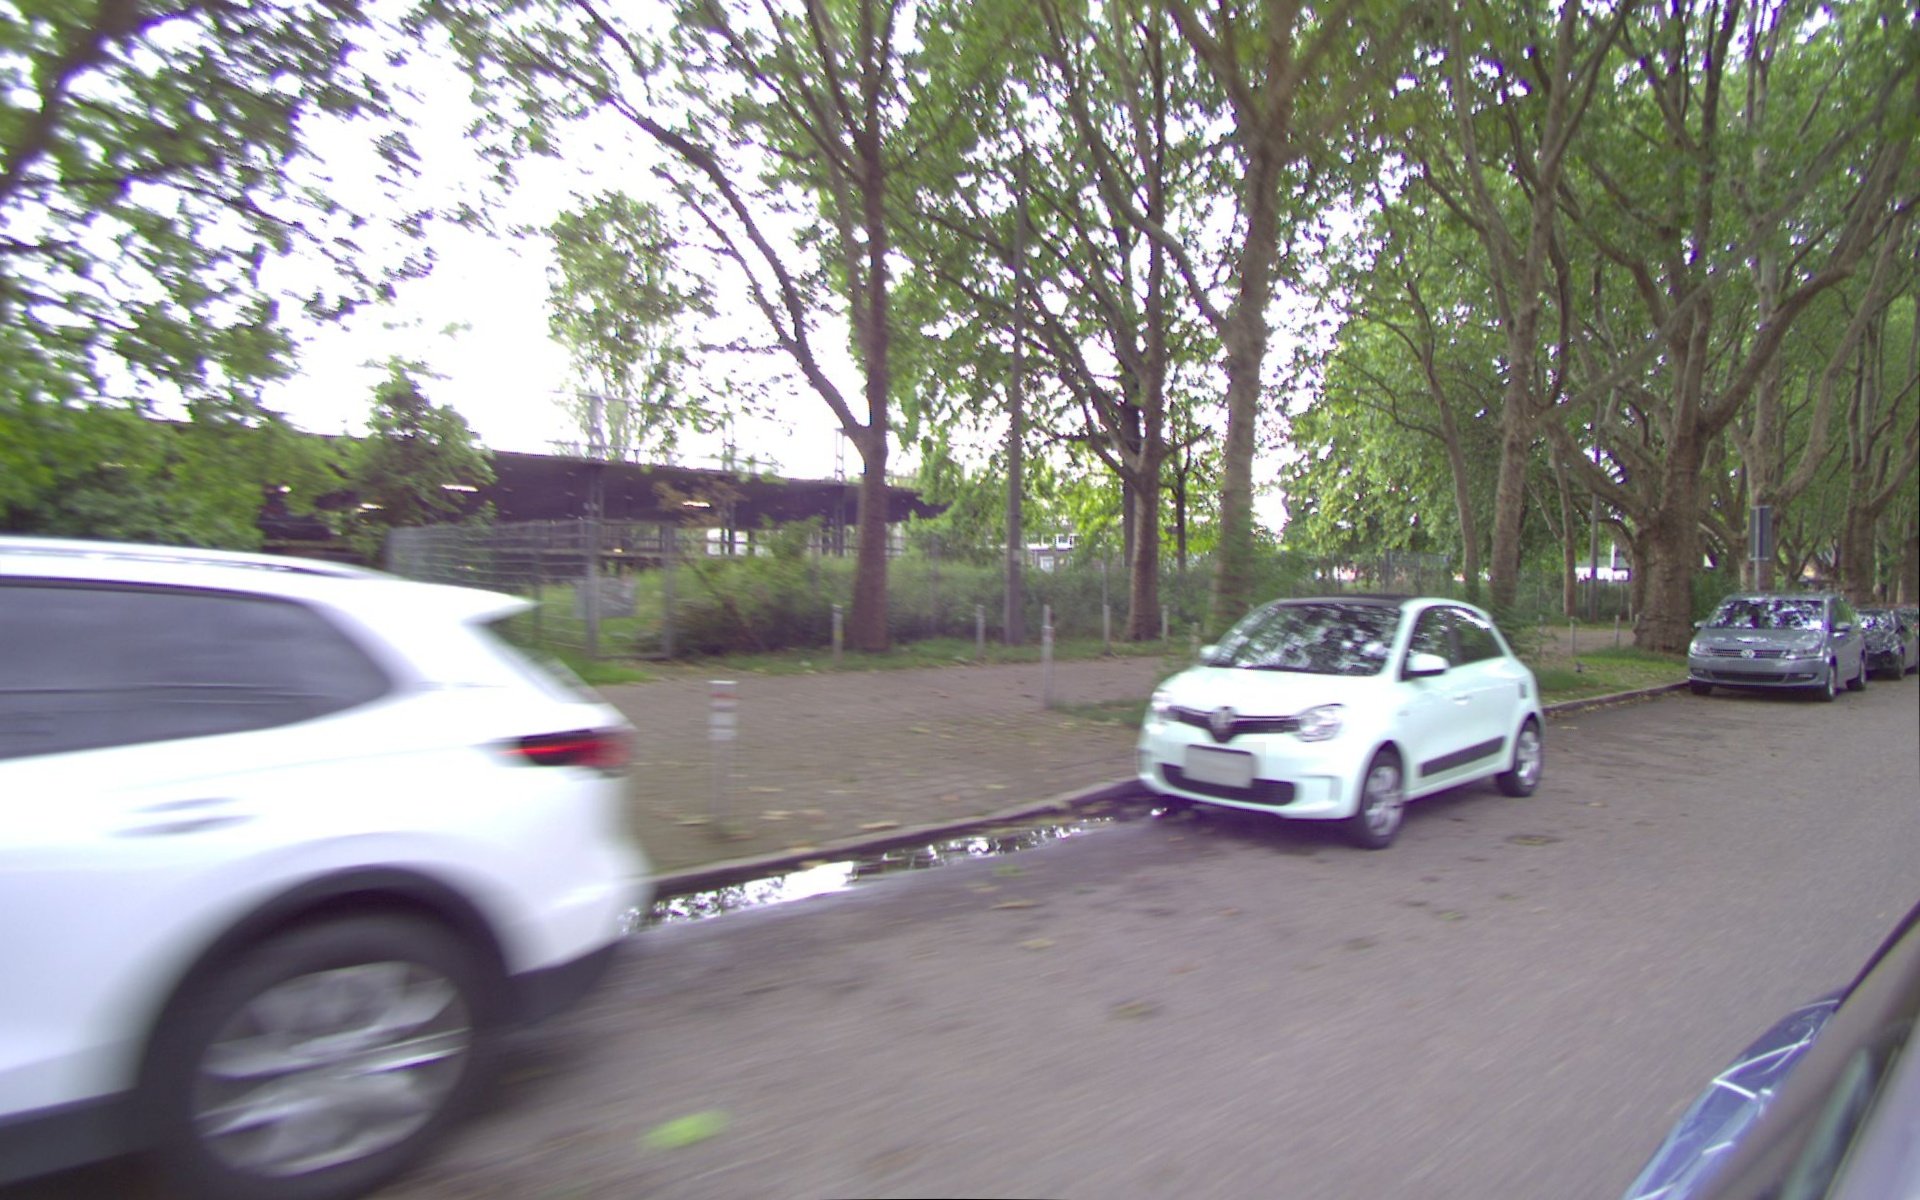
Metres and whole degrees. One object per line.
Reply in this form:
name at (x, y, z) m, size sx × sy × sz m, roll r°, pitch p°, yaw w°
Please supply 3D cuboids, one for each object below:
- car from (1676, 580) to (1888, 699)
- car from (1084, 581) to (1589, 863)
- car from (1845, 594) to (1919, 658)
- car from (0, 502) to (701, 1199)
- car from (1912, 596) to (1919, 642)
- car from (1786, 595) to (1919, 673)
car at (13.759, 0.535, 16.836) m, size 4.649 × 1.701 × 1.985 m, roll -1°, pitch 1°, yaw -41°
car at (2.973, 0.648, 7.592) m, size 4.023 × 1.545 × 1.811 m, roll -1°, pitch 1°, yaw -40°
car at (24.038, 0.614, 25.654) m, size 4.104 × 1.500 × 1.860 m, roll 0°, pitch 1°, yaw -41°
car at (-3.171, 0.604, 2.276) m, size 4.665 × 1.638 × 1.918 m, roll -1°, pitch 1°, yaw -40°
car at (32.212, 0.619, 32.552) m, size 4.506 × 1.445 × 1.880 m, roll 0°, pitch 1°, yaw -41°
car at (18.994, 0.634, 21.161) m, size 4.400 × 1.445 × 1.881 m, roll 0°, pitch 1°, yaw -40°
